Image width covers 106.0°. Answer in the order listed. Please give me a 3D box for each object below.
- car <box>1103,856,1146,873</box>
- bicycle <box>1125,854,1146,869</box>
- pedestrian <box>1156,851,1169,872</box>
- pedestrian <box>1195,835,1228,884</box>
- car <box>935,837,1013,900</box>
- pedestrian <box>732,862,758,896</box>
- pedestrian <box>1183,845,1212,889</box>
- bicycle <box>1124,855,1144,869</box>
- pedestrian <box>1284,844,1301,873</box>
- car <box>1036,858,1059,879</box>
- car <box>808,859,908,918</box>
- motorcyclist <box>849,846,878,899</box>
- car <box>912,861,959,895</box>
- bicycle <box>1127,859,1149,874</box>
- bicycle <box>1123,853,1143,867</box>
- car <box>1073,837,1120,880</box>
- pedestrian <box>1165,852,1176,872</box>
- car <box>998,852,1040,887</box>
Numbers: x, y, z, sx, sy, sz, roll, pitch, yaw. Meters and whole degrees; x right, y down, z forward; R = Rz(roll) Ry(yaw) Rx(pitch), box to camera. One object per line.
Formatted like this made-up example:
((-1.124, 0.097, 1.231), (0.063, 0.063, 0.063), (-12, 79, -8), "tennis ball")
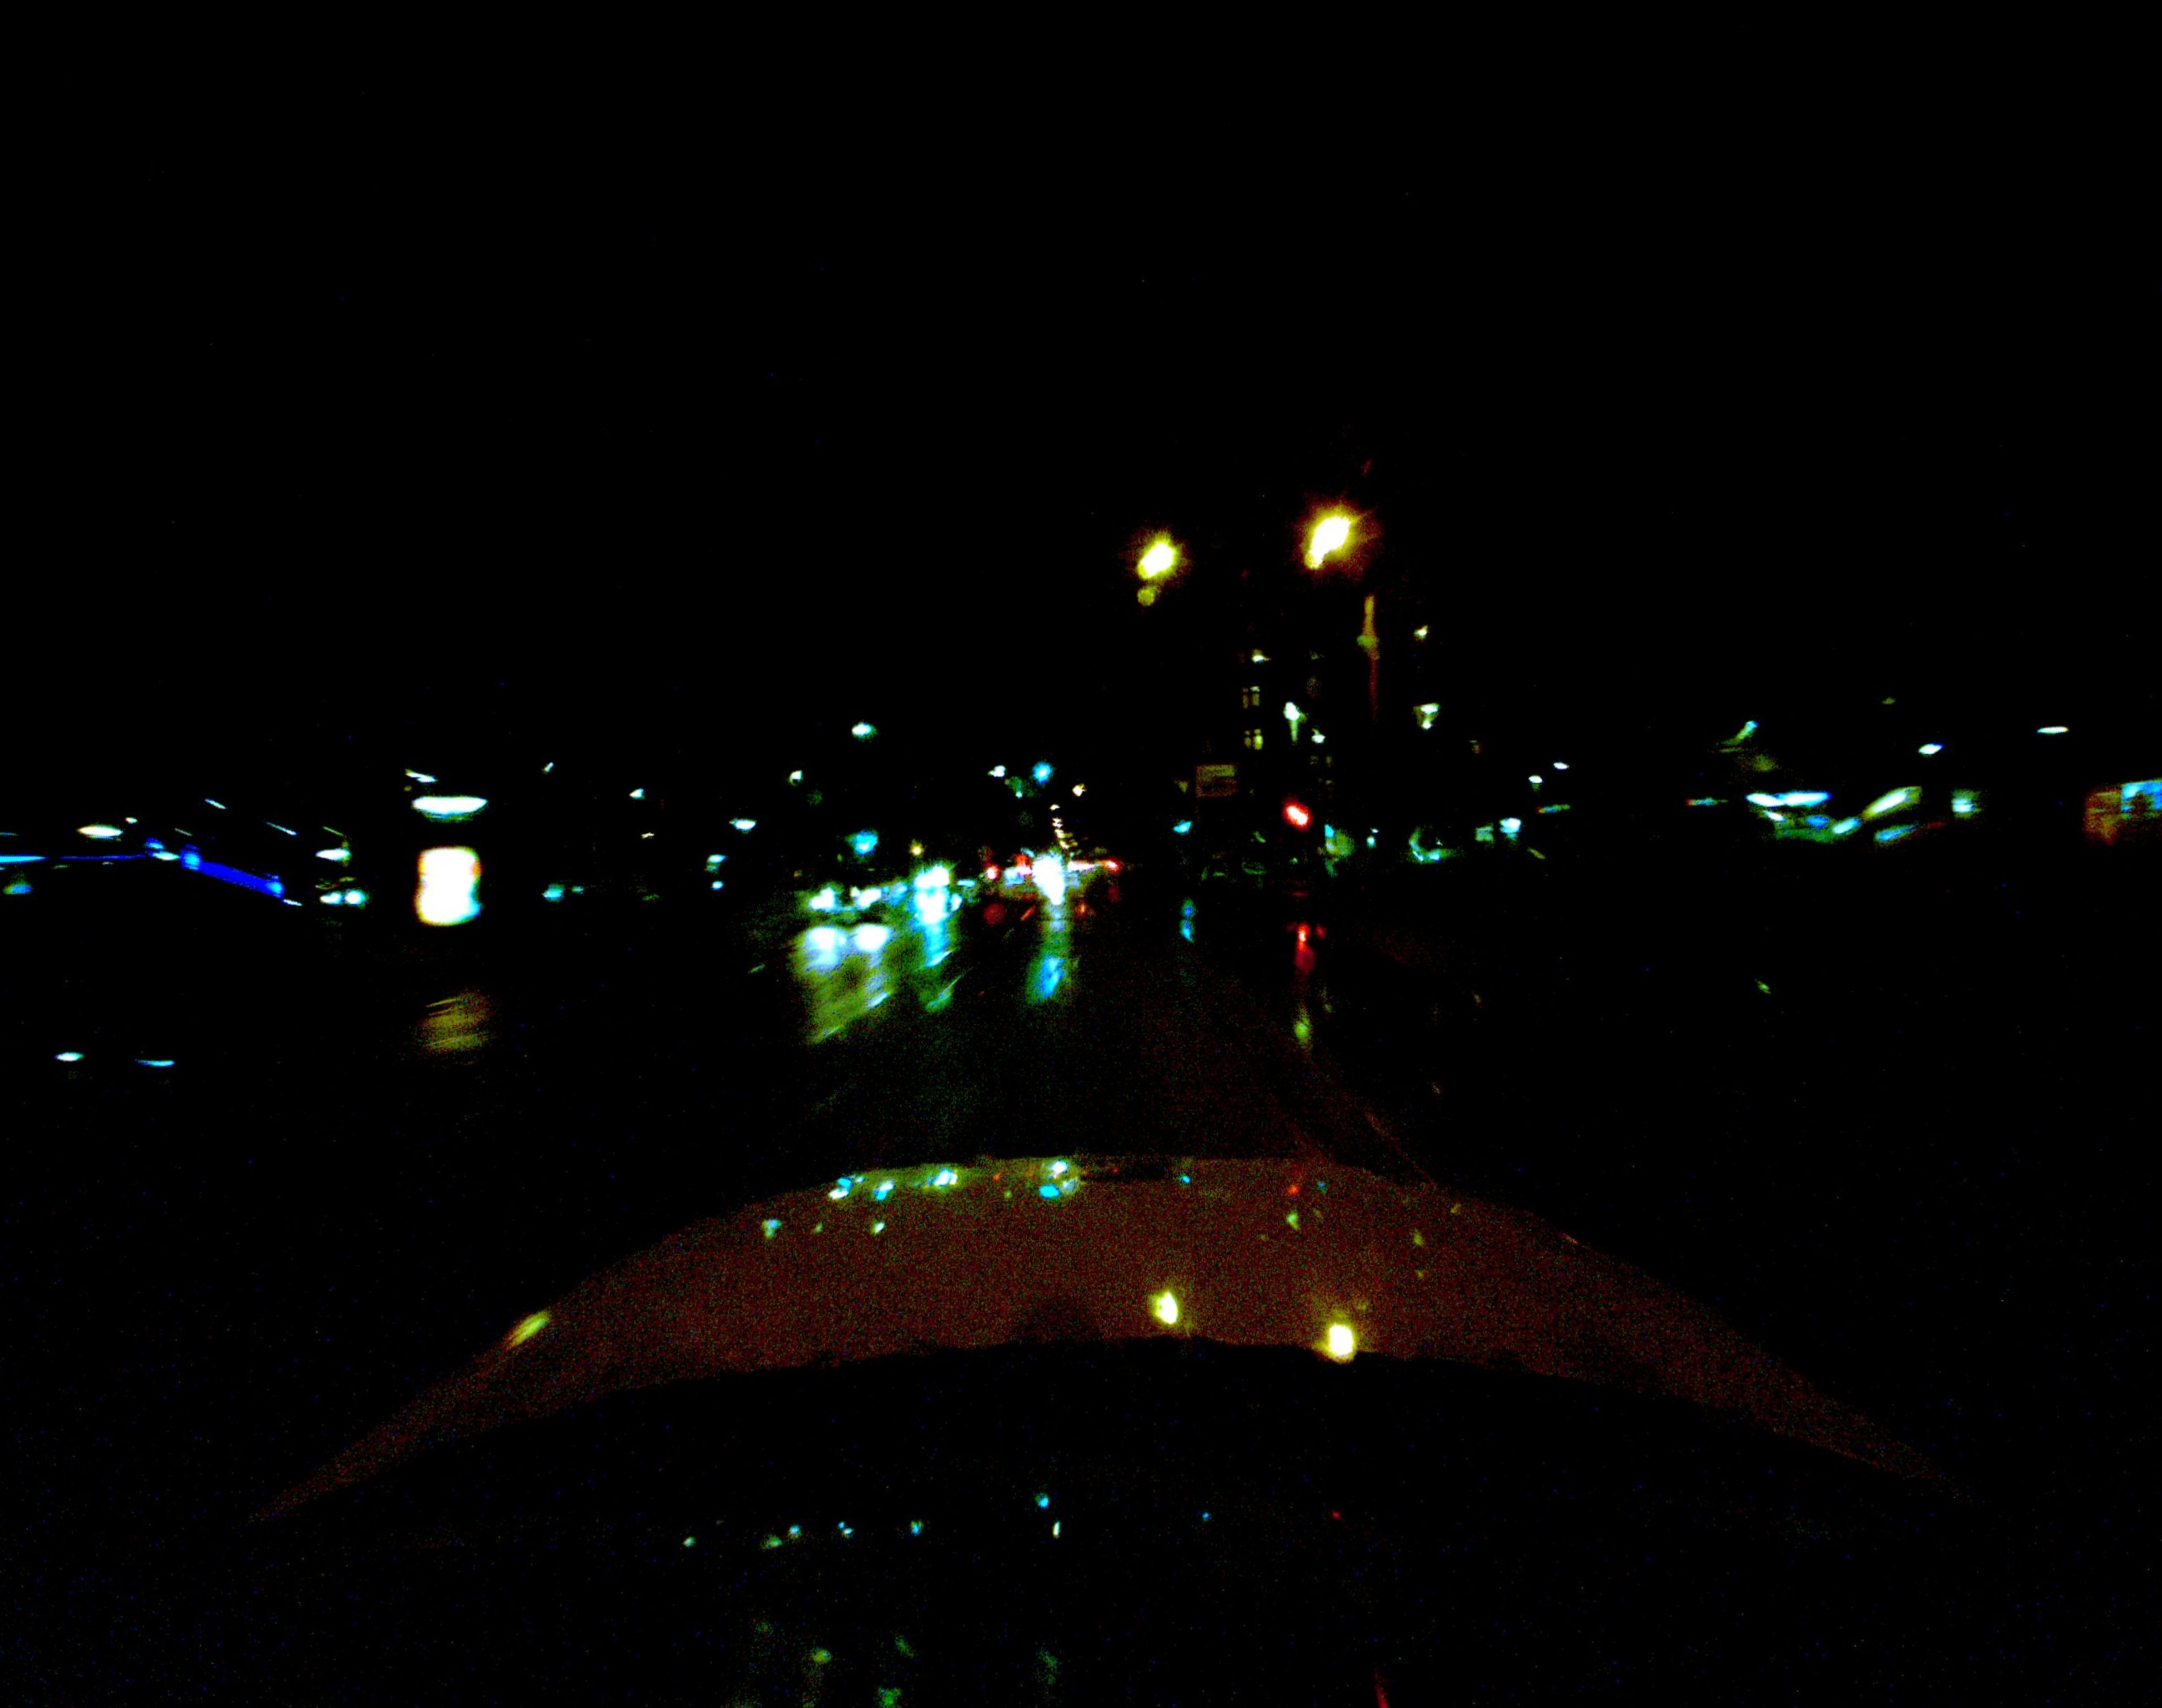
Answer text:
((4.538, 1.110, 85.001), (4.207, 1.457, 1.835), (-4, 0, -39), "car")
((5.340, 0.742, 80.380), (1.894, 1.251, 0.594), (-5, -1, -6), "bicycle")
((7.356, 0.669, 73.690), (0.954, 1.882, 0.999), (-3, 0, -1), "pedestrian")
((5.070, 0.226, 31.658), (1.102, 1.825, 0.852), (-3, 0, 3), "pedestrian")
((-3.822, 0.479, 30.037), (2.027, 1.953, 5.199), (-5, 0, 0), "car")
((-17.678, 1.295, 42.864), (0.761, 1.736, 0.976), (-3, -1, 37), "pedestrian")
((5.023, 0.554, 35.092), (1.102, 1.825, 0.852), (-3, 0, 6), "pedestrian")
((5.283, 0.838, 81.055), (1.894, 1.251, 0.594), (-5, -1, -6), "bicycle")
((15.462, 0.323, 59.409), (0.965, 2.013, 1.021), (-3, 2, 21), "pedestrian")
((-2.707, 1.187, 65.437), (1.703, 1.542, 3.982), (-3, -1, -4), "car")
((-6.649, 0.969, 24.843), (1.848, 1.499, 4.765), (-3, 0, -3), "car")
((-8.456, 0.694, 31.745), (0.690, 2.013, 0.984), (-3, 0, 5), "motorcyclist")
((-7.401, 1.194, 41.840), (1.641, 1.511, 4.106), (-5, 0, -2), "car")
((5.536, 1.194, 78.885), (1.894, 1.251, 0.709), (-5, -1, -6), "bicycle")
((5.207, 0.573, 81.718), (1.894, 1.251, 0.594), (-5, -1, -6), "bicycle")
((0.716, 0.230, 41.562), (2.162, 1.972, 4.300), (-3, -1, -1), "car")
((7.627, 0.683, 69.272), (0.778, 1.618, 0.999), (-3, 0, -1), "pedestrian")
((-2.992, 0.736, 40.287), (1.813, 1.542, 4.722), (-3, -1, -2), "car")
